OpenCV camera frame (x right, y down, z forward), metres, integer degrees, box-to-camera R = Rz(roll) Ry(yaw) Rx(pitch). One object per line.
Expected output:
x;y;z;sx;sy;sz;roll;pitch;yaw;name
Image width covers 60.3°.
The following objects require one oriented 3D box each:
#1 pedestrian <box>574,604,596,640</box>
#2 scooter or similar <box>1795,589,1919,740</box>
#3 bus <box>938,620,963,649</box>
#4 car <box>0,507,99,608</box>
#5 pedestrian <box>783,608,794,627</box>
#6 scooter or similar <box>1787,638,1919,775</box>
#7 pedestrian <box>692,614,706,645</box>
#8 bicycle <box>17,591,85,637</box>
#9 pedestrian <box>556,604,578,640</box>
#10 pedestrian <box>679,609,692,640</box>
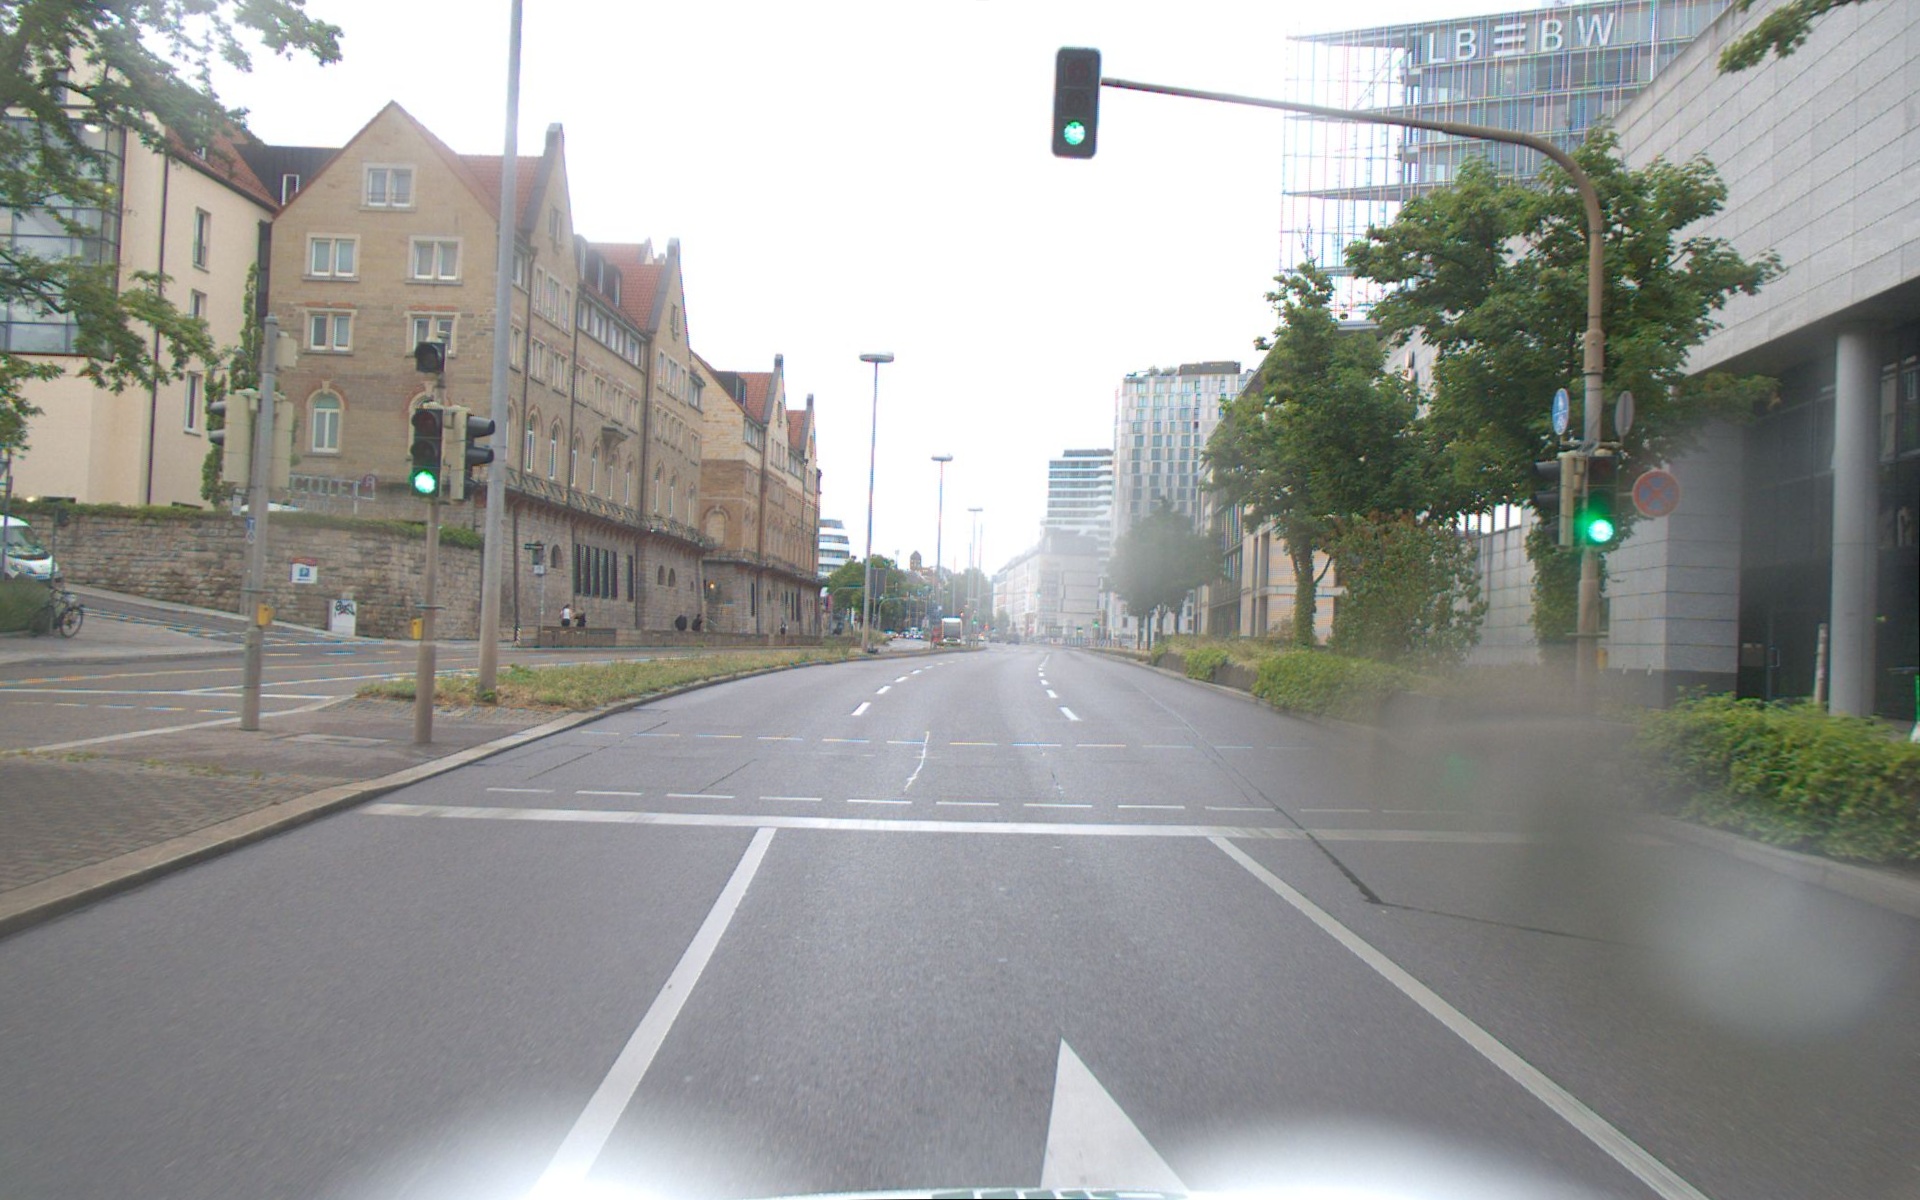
-16.026;0.943;70.694;0.738;1.504;0.714;1;0;2;pedestrian
9.875;0.692;17.954;1.295;1.557;0.503;3;0;5;scooter or similar
-1.167;4.446;212.269;2.642;3.622;10.096;1;-1;3;bus
-27.764;-1.485;45.443;6.764;2.313;2.516;9;3;4;car
-13.334;1.375;128.606;0.738;1.504;0.714;1;0;2;pedestrian
10.027;1.177;18.461;1.295;1.433;0.459;3;0;5;scooter or similar
-14.857;1.670;94.191;0.627;1.776;0.621;1;0;1;pedestrian
-20.432;0.324;37.216;0.447;1.008;1.759;2;-1;3;bicycle
-16.808;0.930;70.726;0.738;1.504;0.714;1;0;2;pedestrian
-15.572;1.378;93.850;0.627;1.776;0.621;1;0;1;pedestrian
